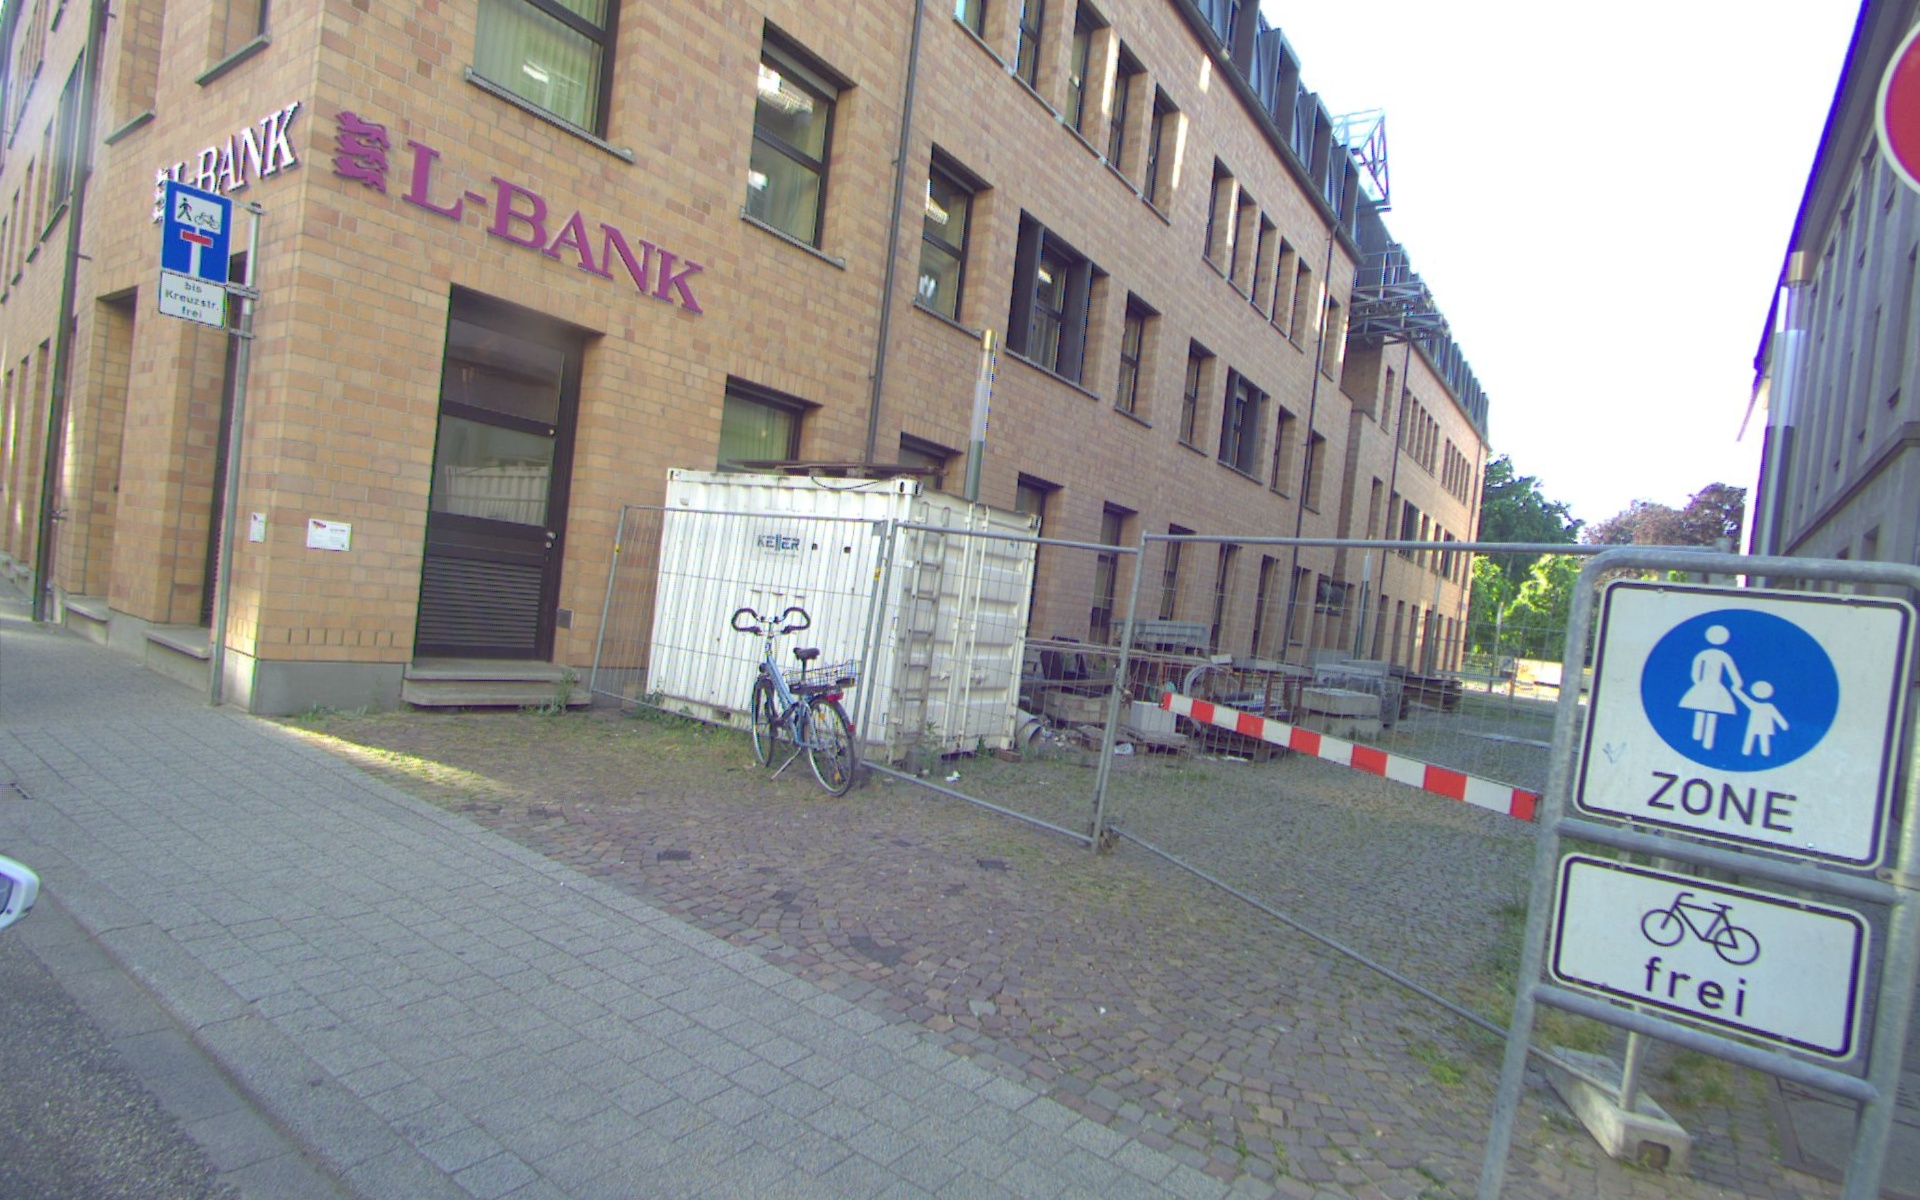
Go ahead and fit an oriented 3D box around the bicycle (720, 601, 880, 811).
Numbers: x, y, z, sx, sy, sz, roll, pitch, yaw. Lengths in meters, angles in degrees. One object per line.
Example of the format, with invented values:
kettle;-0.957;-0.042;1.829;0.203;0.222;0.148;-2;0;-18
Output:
bicycle;-1.194;0.703;7.240;0.317;1.265;1.566;6;1;-37
